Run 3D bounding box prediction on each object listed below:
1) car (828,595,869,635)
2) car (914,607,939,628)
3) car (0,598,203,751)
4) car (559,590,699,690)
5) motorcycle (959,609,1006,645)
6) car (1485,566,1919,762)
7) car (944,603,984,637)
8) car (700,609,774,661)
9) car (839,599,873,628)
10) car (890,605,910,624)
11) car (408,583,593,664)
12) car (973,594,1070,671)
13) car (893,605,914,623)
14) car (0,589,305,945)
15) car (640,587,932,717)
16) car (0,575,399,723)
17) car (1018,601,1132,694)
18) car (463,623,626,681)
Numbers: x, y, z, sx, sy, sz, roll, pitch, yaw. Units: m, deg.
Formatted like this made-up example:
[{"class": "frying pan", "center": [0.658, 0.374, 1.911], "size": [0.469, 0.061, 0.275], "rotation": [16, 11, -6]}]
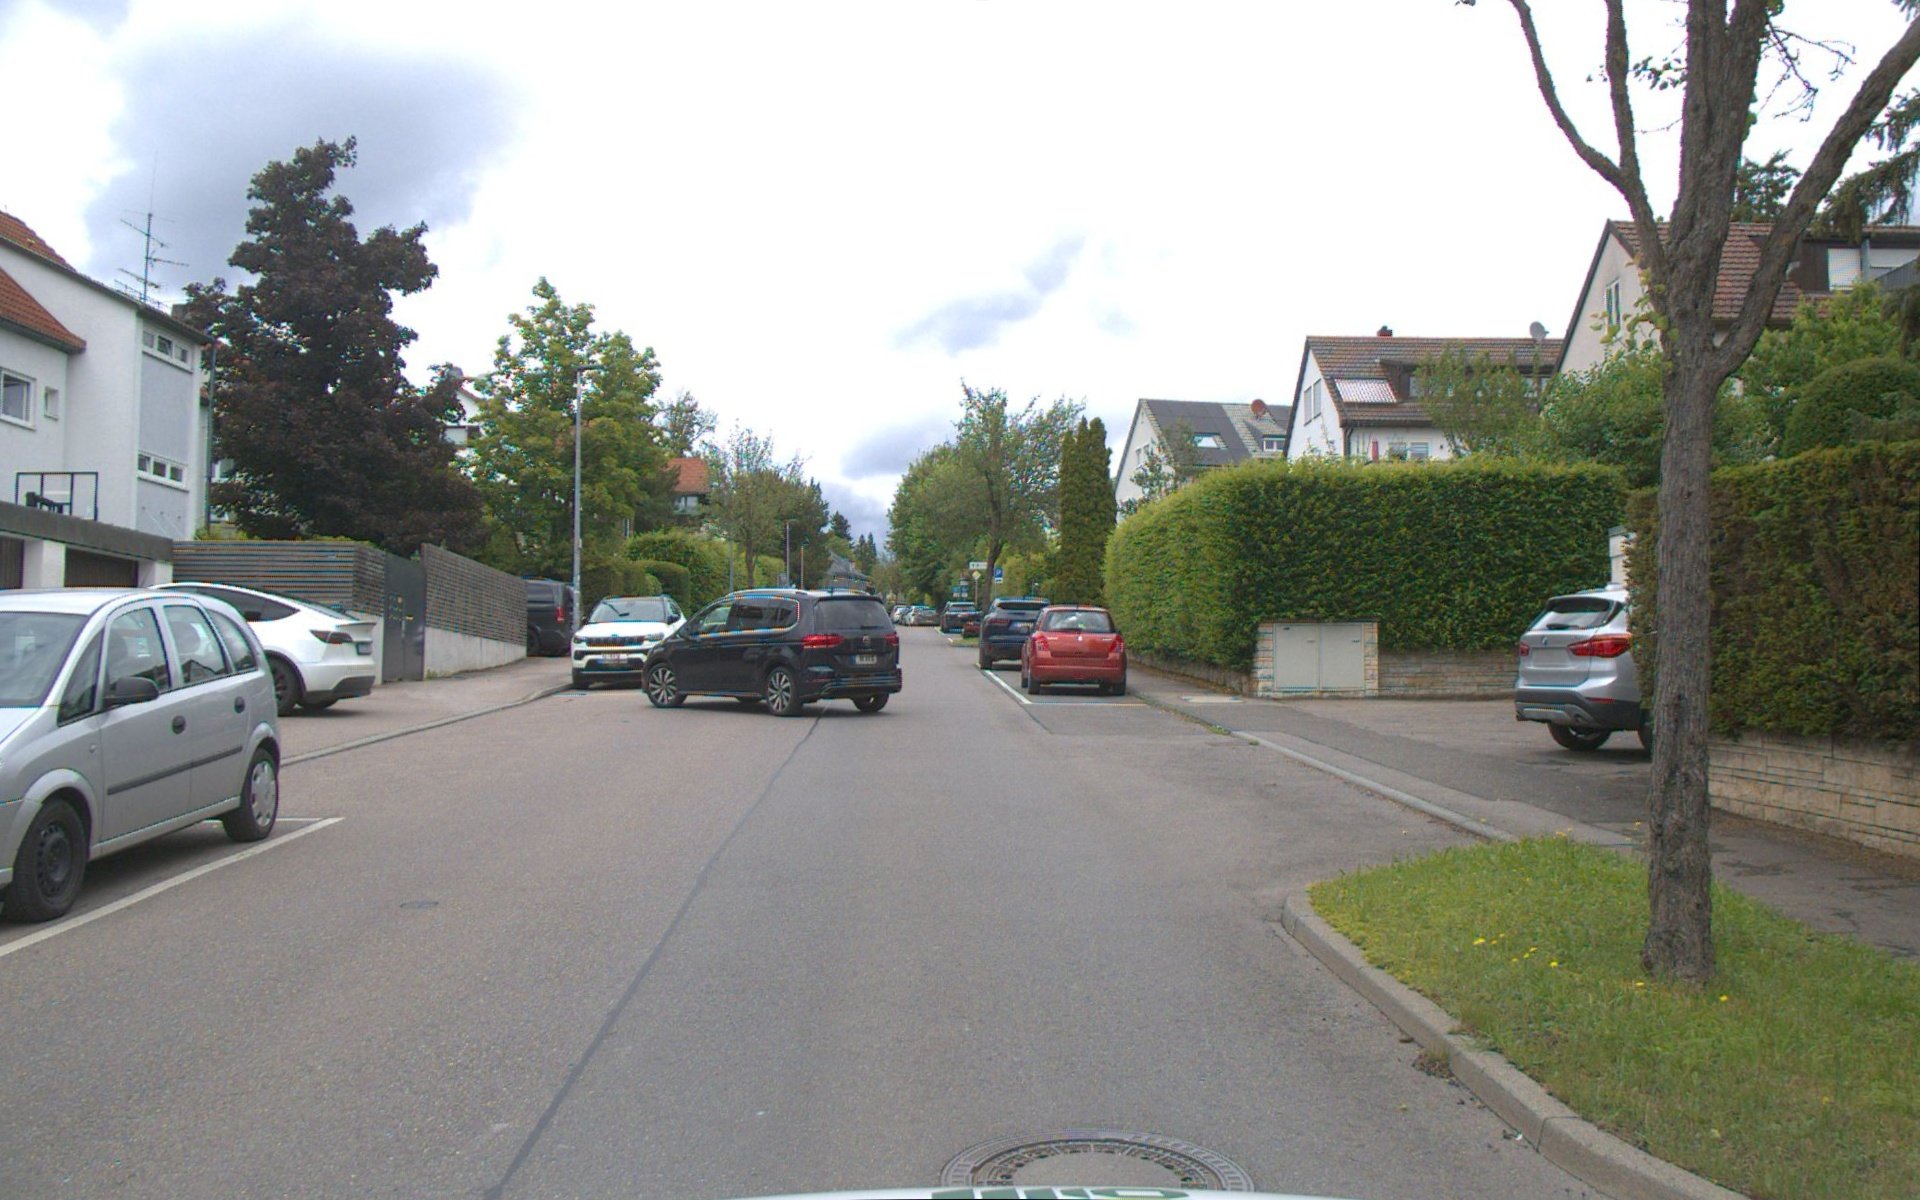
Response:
[{"class": "car", "center": [-5.392, 0.706, 80.647], "size": [1.847, 1.883, 4.399], "rotation": [-1, 0, -3]}, {"class": "car", "center": [-2.521, 1.298, 124.604], "size": [1.633, 1.527, 3.463], "rotation": [0, 0, -6]}, {"class": "car", "center": [-10.301, 0.752, 17.907], "size": [3.360, 1.539, 1.692], "rotation": [2, -1, -1]}, {"class": "car", "center": [-6.130, 0.706, 31.104], "size": [1.800, 1.695, 4.407], "rotation": [-2, 0, -1]}, {"class": "motorcycle", "center": [0.883, 1.024, 63.942], "size": [1.849, 1.370, 0.591], "rotation": [0, 0, -38]}, {"class": "car", "center": [7.503, 0.554, 16.130], "size": [4.132, 1.627, 1.877], "rotation": [-2, 1, -11]}, {"class": "car", "center": [0.156, 0.953, 81.466], "size": [1.844, 1.560, 4.474], "rotation": [1, 0, -1]}, {"class": "car", "center": [-6.637, 1.015, 49.642], "size": [1.800, 1.447, 4.406], "rotation": [-2, 0, -3]}, {"class": "car", "center": [-6.277, 0.812, 100.089], "size": [1.902, 1.676, 4.256], "rotation": [-2, 0, -2]}, {"class": "car", "center": [-5.649, 1.354, 156.405], "size": [1.633, 1.697, 3.463], "rotation": [0, 0, -6]}, {"class": "car", "center": [-11.447, 0.602, 41.366], "size": [3.986, 1.984, 2.001], "rotation": [0, -2, 6]}, {"class": "car", "center": [1.387, 0.737, 39.073], "size": [1.953, 1.646, 4.512], "rotation": [2, -1, -1]}, {"class": "car", "center": [-5.094, 1.263, 149.201], "size": [1.633, 1.527, 3.463], "rotation": [0, 0, -6]}, {"class": "car", "center": [-5.237, 0.768, 9.241], "size": [1.725, 1.590, 3.853], "rotation": [-1, 0, -2]}, {"class": "car", "center": [-2.503, 0.673, 23.111], "size": [1.840, 1.640, 4.240], "rotation": [1, -1, -45]}, {"class": "car", "center": [-9.891, 0.626, 21.754], "size": [4.324, 1.657, 1.909], "rotation": [3, -1, -3]}, {"class": "car", "center": [1.953, 0.780, 29.129], "size": [1.627, 1.534, 3.757], "rotation": [0, 0, -2]}, {"class": "car", "center": [-11.269, 1.386, 44.939], "size": [3.902, 1.471, 1.780], "rotation": [0, 0, 10]}]
